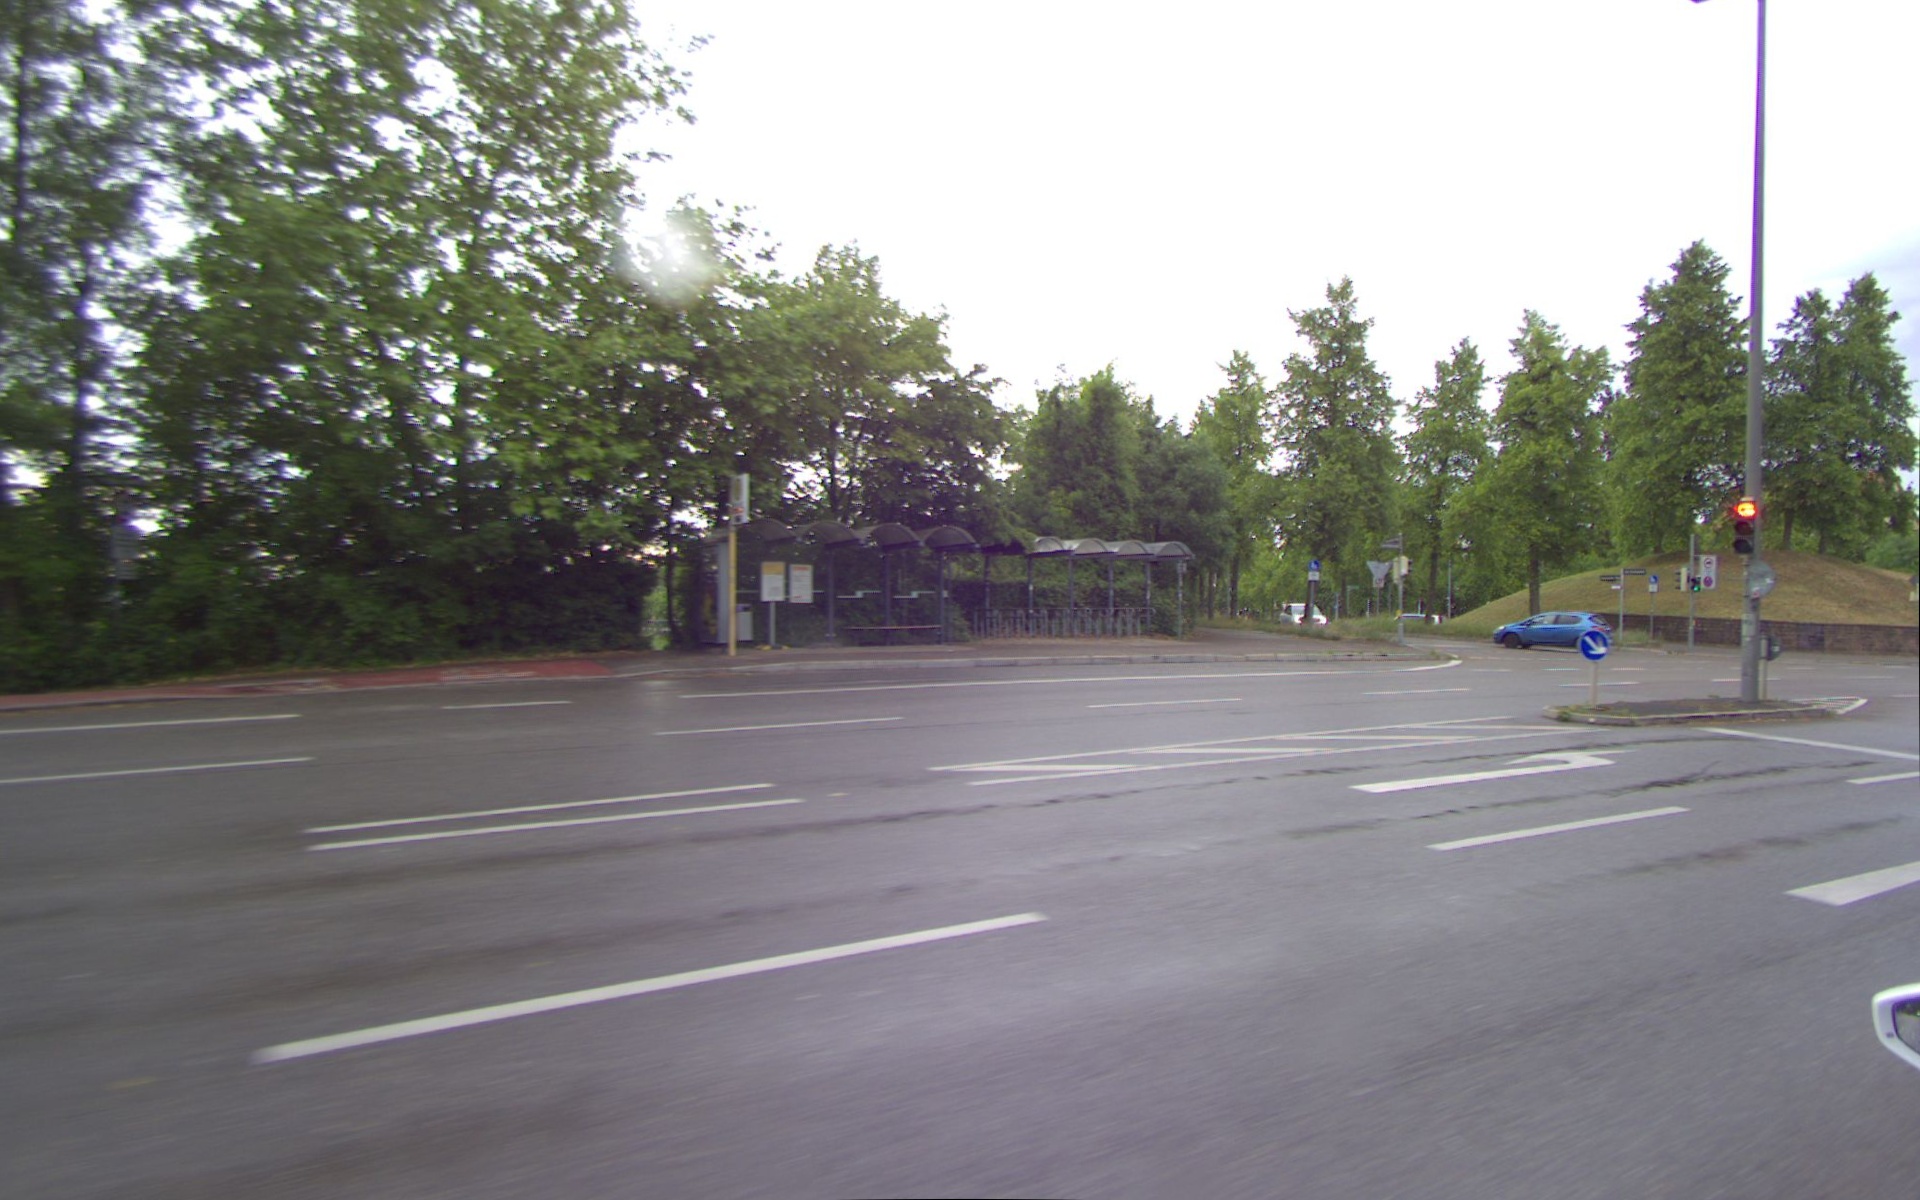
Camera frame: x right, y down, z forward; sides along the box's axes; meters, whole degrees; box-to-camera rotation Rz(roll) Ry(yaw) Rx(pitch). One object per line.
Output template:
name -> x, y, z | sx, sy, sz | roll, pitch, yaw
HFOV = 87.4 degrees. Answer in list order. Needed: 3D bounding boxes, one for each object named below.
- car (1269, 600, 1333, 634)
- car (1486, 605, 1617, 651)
car -> 16.936, 0.809, 50.069 | 1.728, 1.498, 3.696 | 3, 1, -3
car -> 22.592, 1.036, 38.447 | 1.986, 1.510, 3.886 | 1, 1, -43
